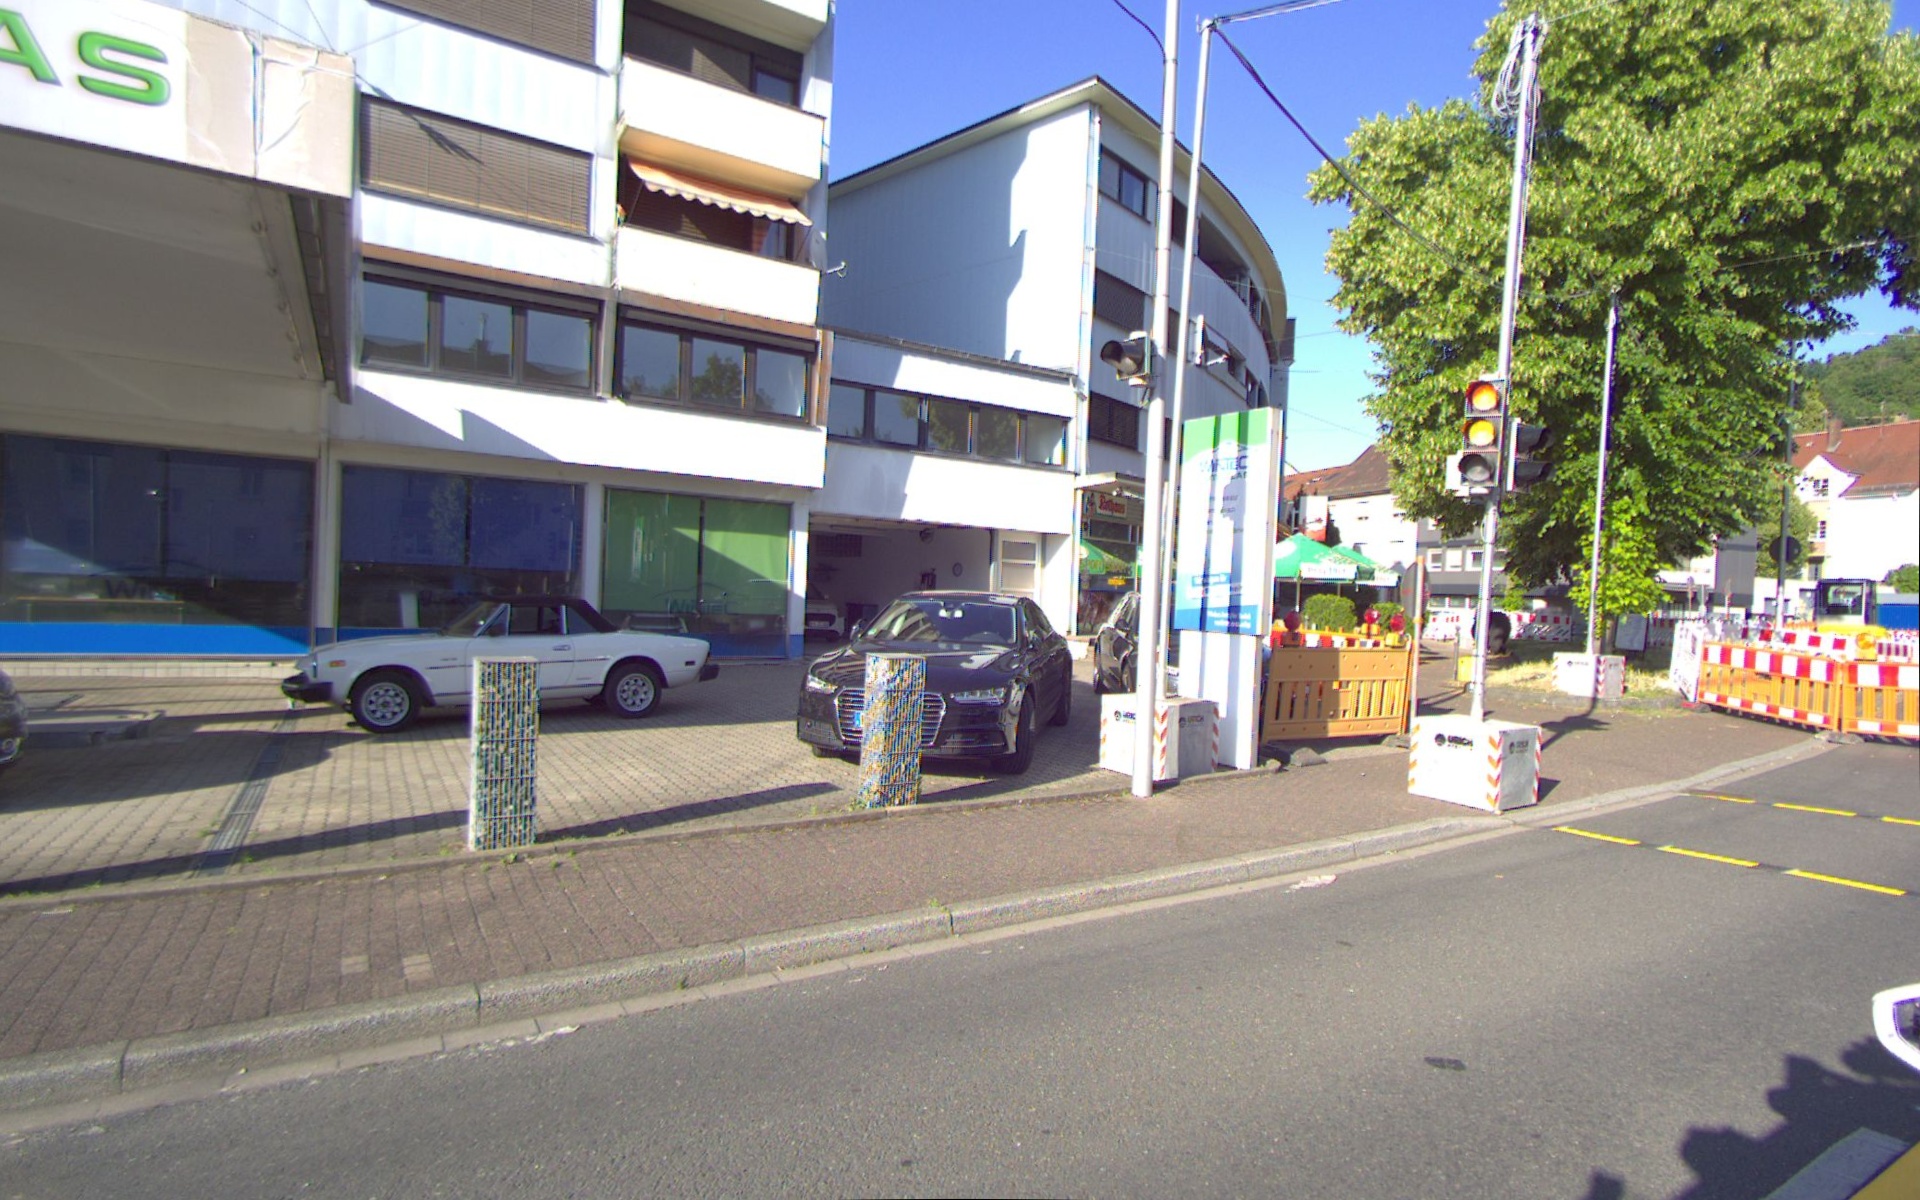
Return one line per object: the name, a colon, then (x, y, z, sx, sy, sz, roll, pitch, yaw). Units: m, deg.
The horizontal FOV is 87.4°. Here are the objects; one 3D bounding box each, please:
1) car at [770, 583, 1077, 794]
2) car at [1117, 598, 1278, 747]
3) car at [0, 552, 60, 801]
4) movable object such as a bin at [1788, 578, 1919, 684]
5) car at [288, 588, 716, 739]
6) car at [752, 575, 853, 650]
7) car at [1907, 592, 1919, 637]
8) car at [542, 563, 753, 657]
car: (-0.026, 0.650, 9.564, 1.893, 1.457, 4.692, 1, 0, 11)
car: (2.758, 0.746, 12.073, 1.564, 1.457, 3.887, 1, 0, 11)
car: (-7.483, 0.409, 5.852, 3.305, 1.506, 1.543, 2, 0, 8)
movable object such as a bin: (21.561, 0.703, 24.107, 3.882, 2.356, 1.635, 1, 0, -36)
car: (-4.676, 0.593, 10.481, 3.865, 1.315, 1.511, 1, -1, -35)
car: (-3.894, 0.253, 24.374, 1.550, 1.629, 3.734, 2, 1, -23)
car: (49.507, 0.790, 48.462, 6.043, 2.149, 2.586, 2, 0, -12)
car: (-6.101, 0.218, 19.703, 3.593, 1.696, 1.707, 2, 0, -34)
